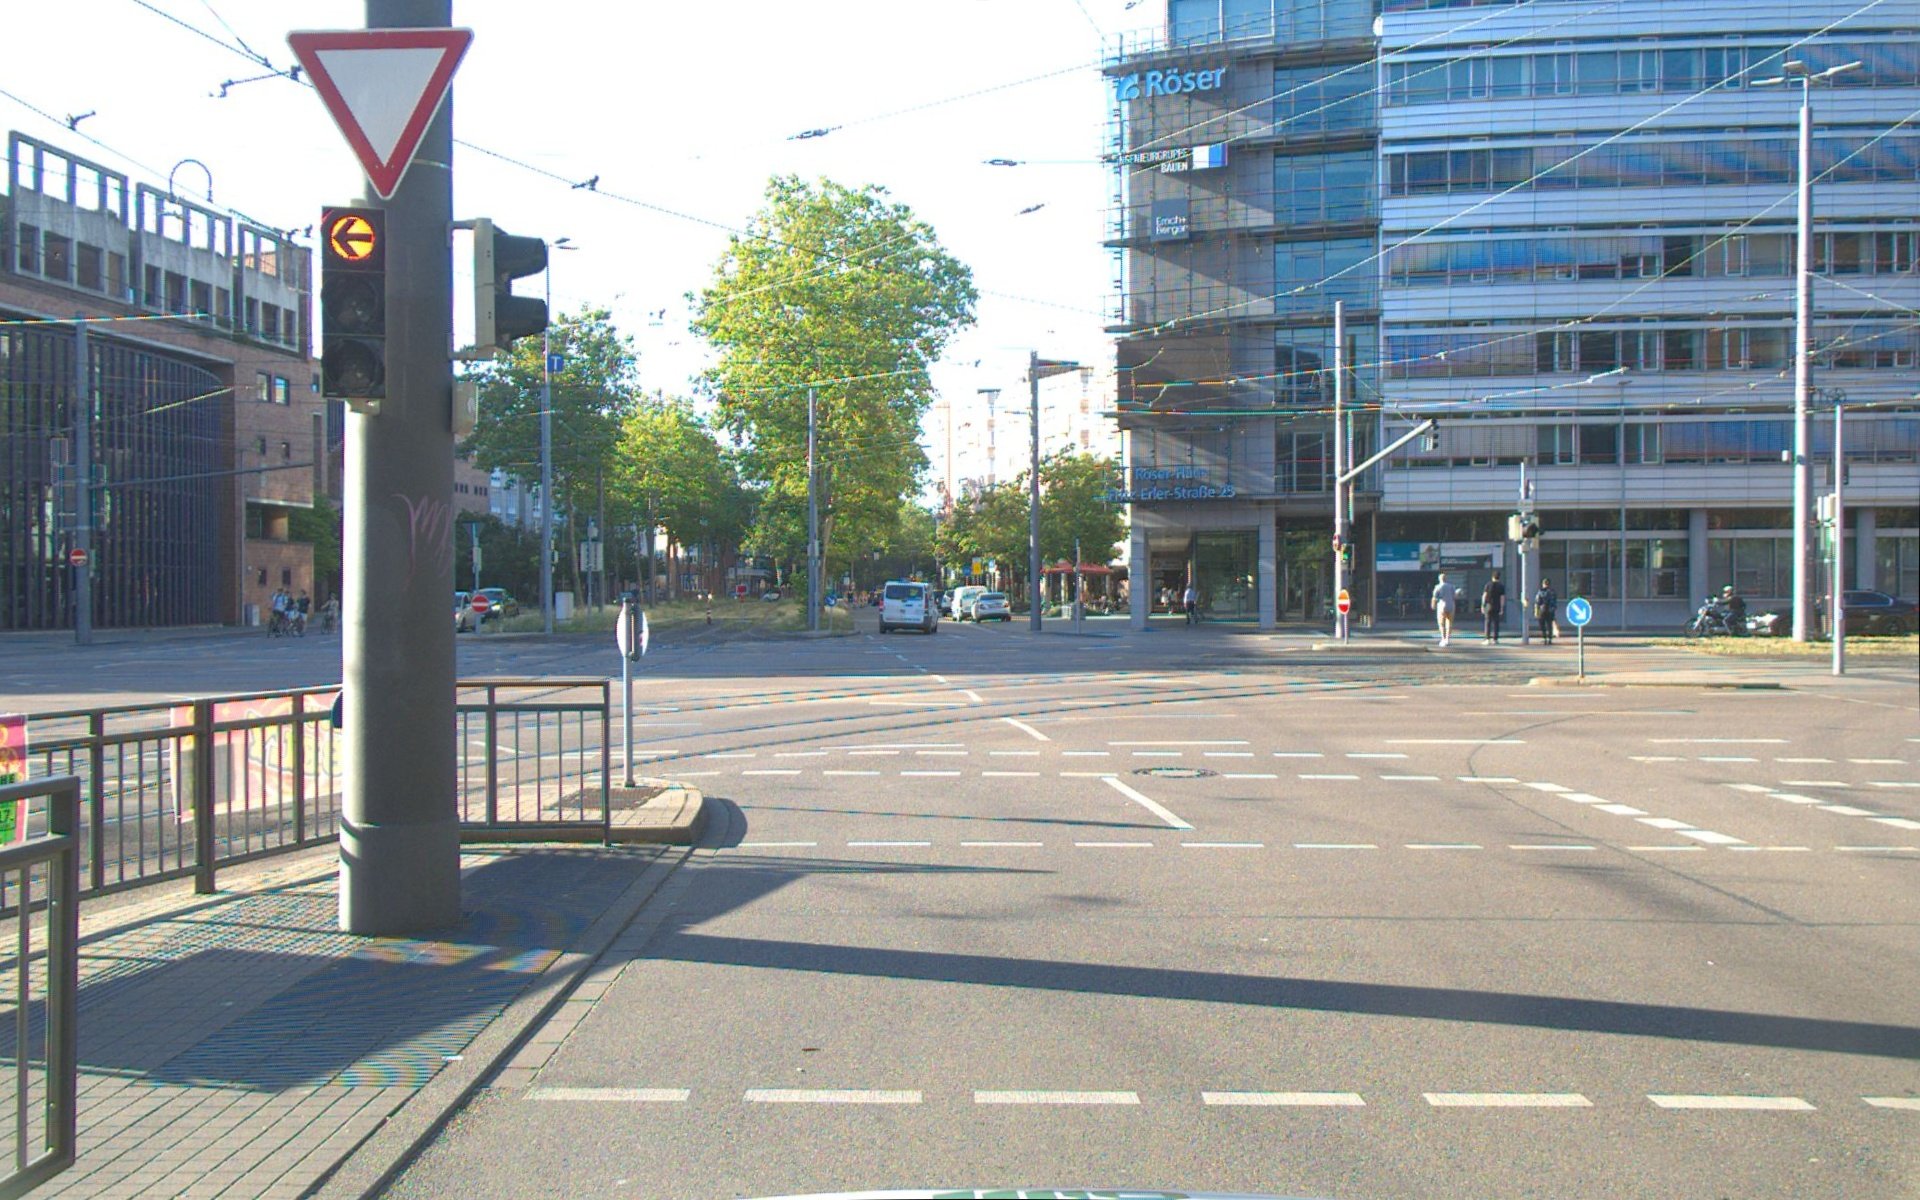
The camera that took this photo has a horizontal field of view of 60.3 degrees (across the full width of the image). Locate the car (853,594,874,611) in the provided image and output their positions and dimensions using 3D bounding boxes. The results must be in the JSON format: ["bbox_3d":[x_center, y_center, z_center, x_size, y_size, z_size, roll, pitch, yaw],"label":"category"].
[{"bbox_3d":[-8.587,0.200,146.901,1.762,1.467,3.998,1,0,-3],"label":"car"}]

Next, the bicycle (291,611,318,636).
[{"bbox_3d":[-25.932,0.928,65.454,0.463,0.980,1.575,-1,0,-1],"label":"bicycle"}]

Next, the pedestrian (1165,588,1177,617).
[{"bbox_3d":[11.086,0.143,86.900,0.599,1.534,0.579,-1,0,7],"label":"pedestrian"}]

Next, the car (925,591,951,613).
[{"bbox_3d":[-1.678,0.130,126.629,1.953,1.646,3.999,-1,0,-1],"label":"car"}]

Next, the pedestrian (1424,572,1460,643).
[{"bbox_3d":[12.567,0.185,43.152,0.845,1.820,0.872,-1,0,14],"label":"pedestrian"}]

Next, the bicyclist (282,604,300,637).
[{"bbox_3d":[-27.604,0.852,68.274,0.495,1.327,0.581,-1,0,-1],"label":"bicyclist"}]

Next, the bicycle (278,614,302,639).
[{"bbox_3d":[-27.616,1.091,68.169,0.458,0.980,1.320,-1,0,-1],"label":"bicycle"}]

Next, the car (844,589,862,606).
[{"bbox_3d":[-13.244,-0.316,205.005,1.953,2.049,3.999,-1,0,-1],"label":"car"}]

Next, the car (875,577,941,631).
[{"bbox_3d":[-1.869,0.131,61.010,1.920,1.881,5.333,-1,0,3],"label":"car"}]

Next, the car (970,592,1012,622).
[{"bbox_3d":[1.538,0.336,82.784,1.953,1.400,3.999,-1,0,-1],"label":"car"}]

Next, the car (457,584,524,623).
[{"bbox_3d":[-21.120,0.144,74.590,1.953,1.668,3.999,-1,0,-2],"label":"car"}]

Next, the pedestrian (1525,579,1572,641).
[{"bbox_3d":[15.169,0.254,42.646,0.928,1.591,0.897,-1,0,6],"label":"pedestrian"}]

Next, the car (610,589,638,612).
[{"bbox_3d":[-30.983,0.033,152.656,1.954,2.049,3.997,-1,0,-3],"label":"car"}]

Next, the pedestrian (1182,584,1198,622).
[{"bbox_3d":[9.337,0.135,67.016,0.599,1.534,0.579,-1,0,5],"label":"pedestrian"}]

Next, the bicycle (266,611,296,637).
[{"bbox_3d":[-26.764,0.942,65.216,0.531,0.980,1.586,-1,0,-1],"label":"bicycle"}]

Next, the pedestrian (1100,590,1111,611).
[{"bbox_3d":[9.341,0.027,106.197,0.565,1.311,0.910,-1,0,-1],"label":"pedestrian"}]

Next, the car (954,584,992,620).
[{"bbox_3d":[0.689,0.115,89.569,1.953,1.892,3.999,-1,0,-1],"label":"car"}]

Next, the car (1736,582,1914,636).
[{"bbox_3d":[24.490,0.251,46.933,4.070,1.423,1.786,-1,0,4],"label":"car"}]

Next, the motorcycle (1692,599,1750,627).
[{"bbox_3d":[22.917,0.385,49.818,1.535,0.824,0.467,-1,0,3],"label":"motorcycle"}]

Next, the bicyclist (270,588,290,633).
[{"bbox_3d":[-26.778,0.410,65.118,0.525,1.761,0.581,-1,0,-1],"label":"bicyclist"}]

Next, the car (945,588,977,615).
[{"bbox_3d":[0.037,0.069,105.206,1.953,1.646,3.999,-1,0,-1],"label":"car"}]

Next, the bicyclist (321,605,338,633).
[{"bbox_3d":[-27.099,0.813,71.071,0.495,1.199,0.581,-1,0,-1],"label":"bicyclist"}]

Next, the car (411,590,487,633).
[{"bbox_3d":[-20.666,0.444,67.031,1.953,1.668,3.999,-1,0,-2],"label":"car"}]

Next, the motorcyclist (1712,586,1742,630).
[{"bbox_3d":[23.097,0.233,49.810,0.697,1.298,0.460,-1,0,3],"label":"motorcyclist"}]

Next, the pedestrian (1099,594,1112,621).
[{"bbox_3d":[9.232,0.482,105.152,0.729,1.744,0.612,-1,0,-1],"label":"pedestrian"}]

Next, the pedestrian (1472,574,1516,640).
[{"bbox_3d":[13.990,0.185,43.388,0.893,1.714,1.036,-1,0,6],"label":"pedestrian"}]

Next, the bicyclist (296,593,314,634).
[{"bbox_3d":[-25.898,0.525,65.394,0.449,1.631,0.581,-1,0,-1],"label":"bicyclist"}]

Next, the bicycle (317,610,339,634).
[{"bbox_3d":[-27.129,0.941,71.009,0.442,0.980,1.347,-1,0,-1],"label":"bicycle"}]

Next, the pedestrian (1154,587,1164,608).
[{"bbox_3d":[16.274,-0.189,135.000,0.729,1.744,0.612,-1,0,-1],"label":"pedestrian"}]
